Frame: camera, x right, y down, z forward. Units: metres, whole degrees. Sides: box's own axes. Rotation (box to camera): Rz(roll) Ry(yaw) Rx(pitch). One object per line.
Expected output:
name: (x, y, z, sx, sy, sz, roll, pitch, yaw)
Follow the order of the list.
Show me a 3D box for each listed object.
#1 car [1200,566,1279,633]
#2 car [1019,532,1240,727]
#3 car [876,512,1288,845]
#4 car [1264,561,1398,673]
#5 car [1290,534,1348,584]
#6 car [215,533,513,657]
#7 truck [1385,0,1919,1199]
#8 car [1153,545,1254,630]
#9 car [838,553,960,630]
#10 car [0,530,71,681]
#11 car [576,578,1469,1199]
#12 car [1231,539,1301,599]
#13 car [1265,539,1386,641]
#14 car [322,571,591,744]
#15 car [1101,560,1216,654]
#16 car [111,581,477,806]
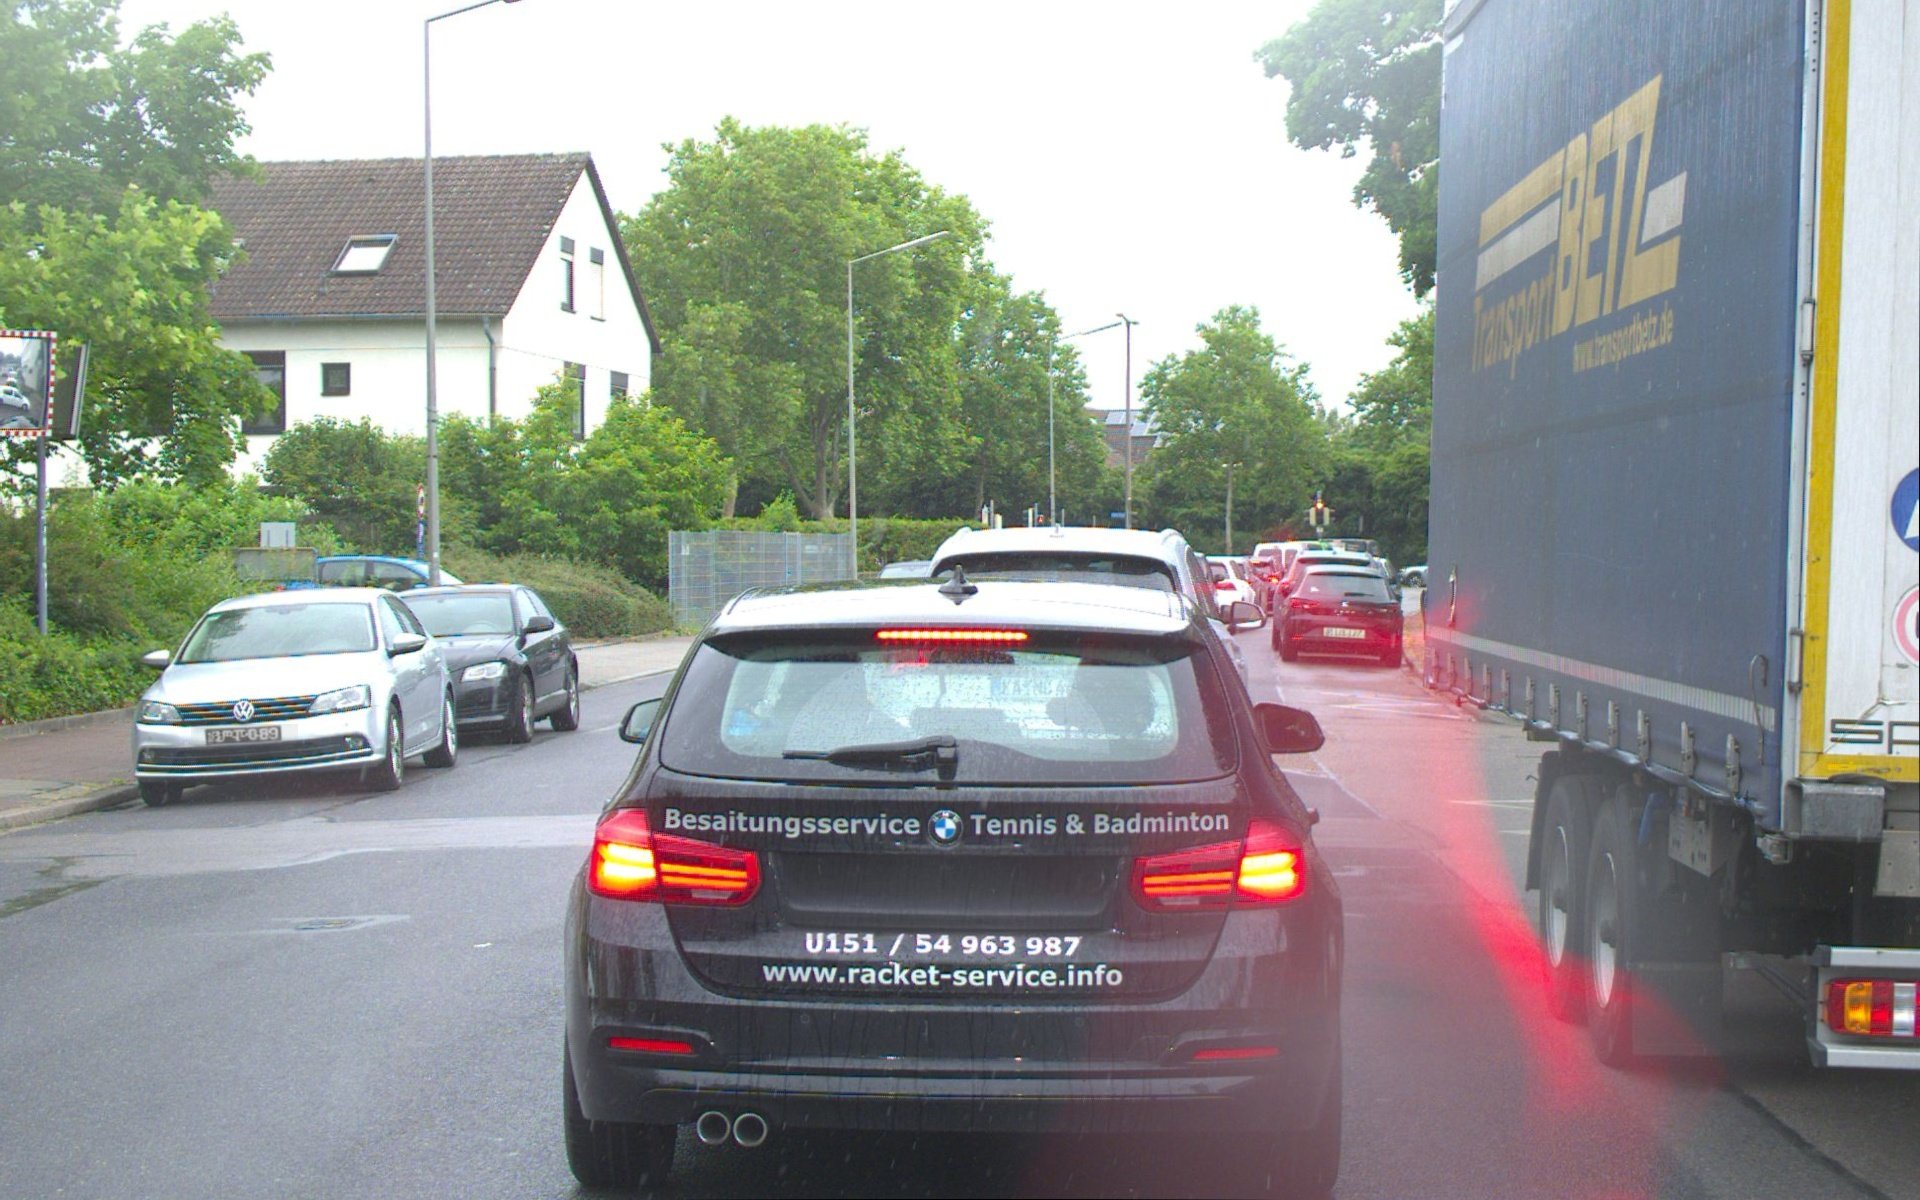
car: (6.911, -0.028, 84.719, 1.805, 1.581, 3.999, 1, 0, 6)
car: (1.529, 0.232, 30.377, 1.804, 1.581, 3.999, 1, 0, 4)
car: (0.542, 0.365, 18.517, 1.804, 1.581, 4.001, 1, 0, -4)
car: (5.483, 0.236, 51.163, 1.804, 1.581, 3.999, 1, 0, 4)
car: (11.488, -1.316, 110.013, 1.804, 1.581, 3.999, 0, 1, 6)
car: (-8.520, -0.078, 49.310, 3.826, 1.589, 1.711, -2, 1, 7)
truck: (3.181, -0.463, 11.005, 2.741, 3.598, 7.750, 2, 1, 2)
car: (4.764, -0.243, 66.909, 1.805, 1.581, 3.999, 1, 0, 6)
car: (-1.158, -0.190, 67.299, 1.706, 1.362, 3.837, -2, 1, 9)
car: (-11.476, 0.039, 35.718, 3.987, 1.535, 1.911, 0, 1, -1)
car: (0.003, 0.650, 8.975, 1.804, 1.390, 4.001, 1, 0, -4)
car: (8.215, -0.841, 92.127, 1.804, 1.581, 3.999, 0, 1, 6)
car: (5.952, -0.171, 56.321, 1.804, 1.581, 3.999, 1, 0, 4)
car: (-4.463, 0.472, 30.954, 1.705, 1.362, 3.838, -2, 1, 2)
car: (3.522, 0.106, 60.440, 1.805, 1.581, 3.999, 1, 0, 6)
car: (-4.714, 0.603, 24.963, 1.705, 1.362, 4.601, -2, 1, 0)
